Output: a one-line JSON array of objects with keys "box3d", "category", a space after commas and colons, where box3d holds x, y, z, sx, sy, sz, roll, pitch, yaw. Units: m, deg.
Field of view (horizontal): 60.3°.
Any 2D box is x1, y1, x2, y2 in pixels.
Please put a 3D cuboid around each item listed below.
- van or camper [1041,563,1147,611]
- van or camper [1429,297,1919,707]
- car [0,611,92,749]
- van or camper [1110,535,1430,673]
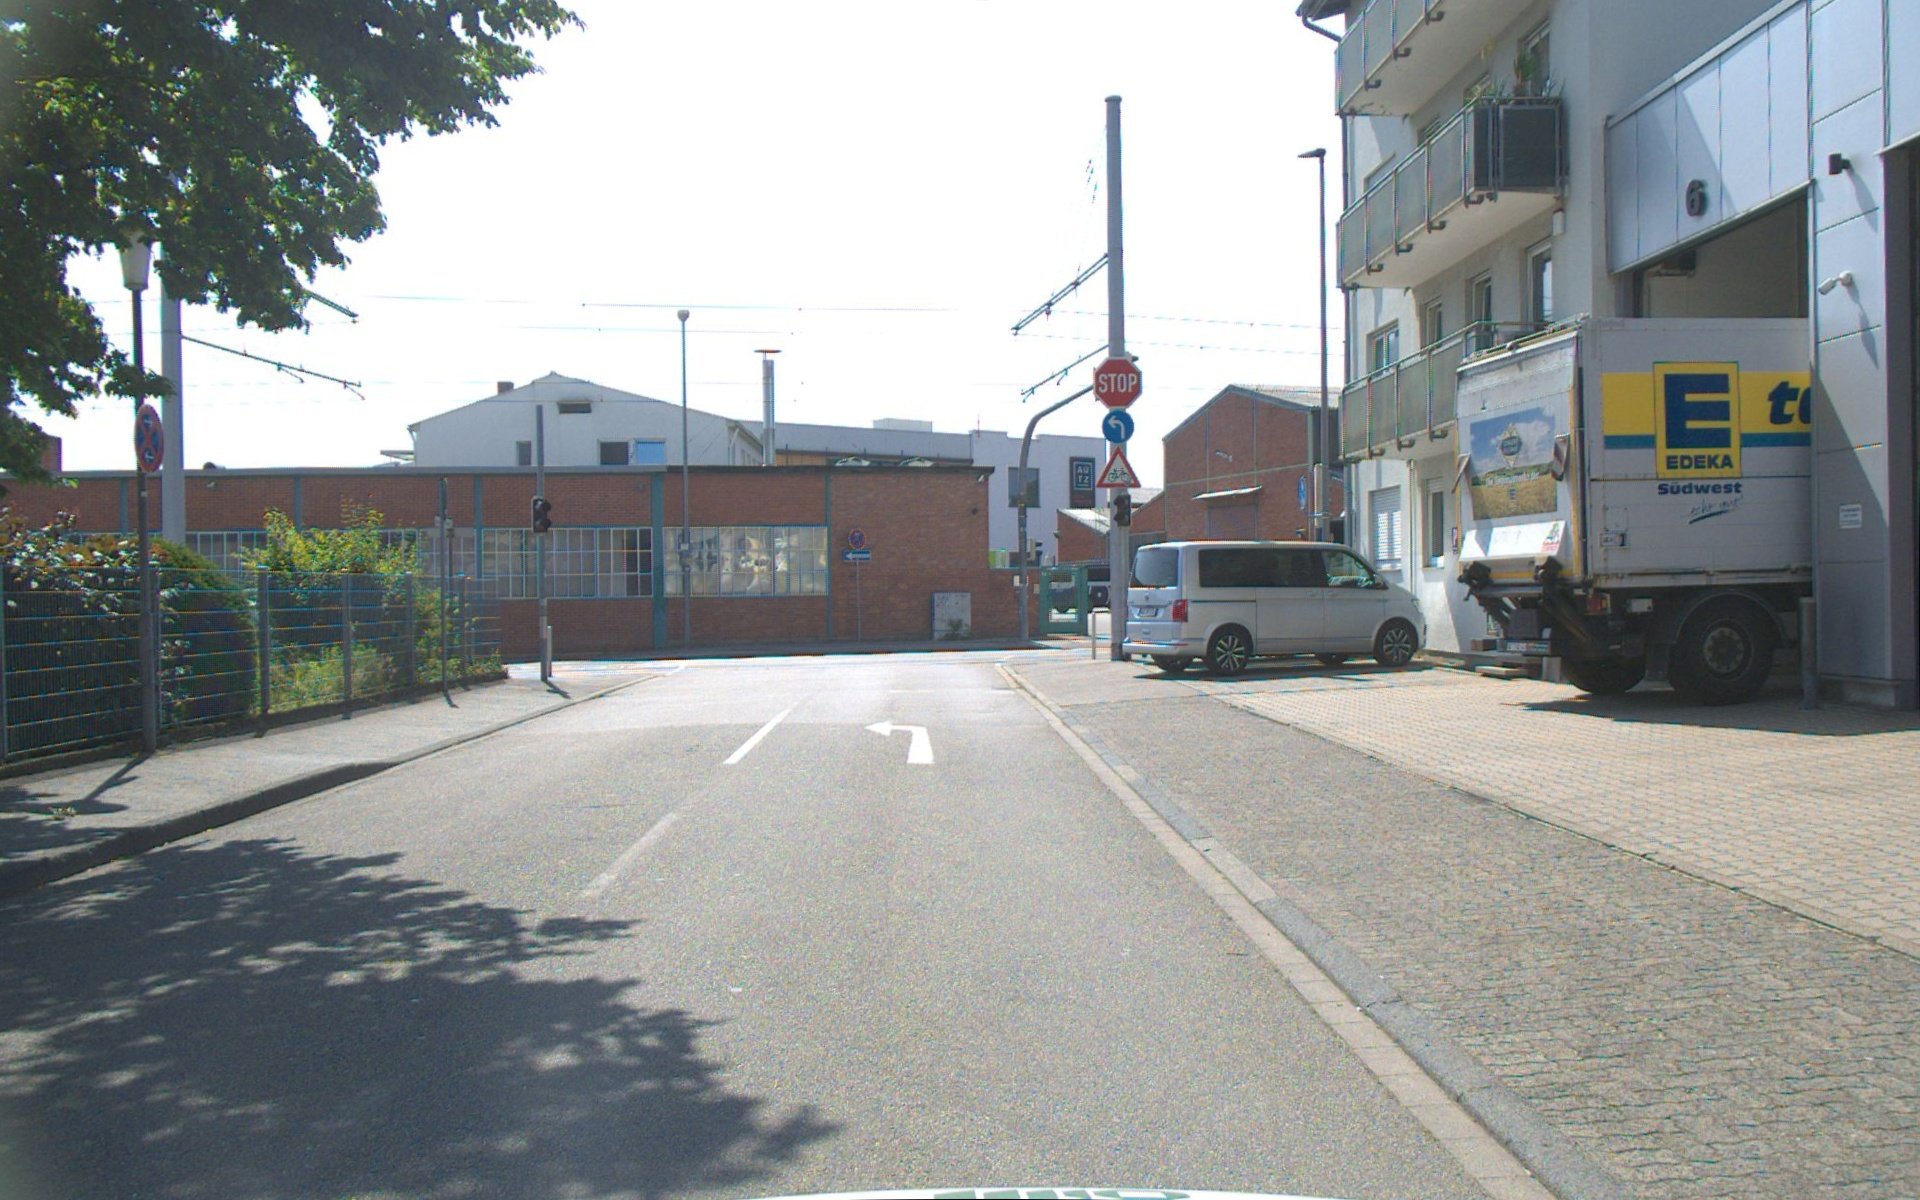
[{"box3d": [5.781, -0.535, 70.941, 4.376, 1.933, 1.973, 1, 0, -38], "category": "van or camper"}, {"box3d": [11.020, -1.131, 17.632, 11.385, 3.757, 2.776, -2, 0, -9], "category": "van or camper"}, {"box3d": [-11.723, 0.888, 17.877, 3.689, 1.390, 1.767, -2, 0, 0], "category": "car"}, {"box3d": [4.763, 0.015, 25.425, 4.478, 1.941, 1.987, -1, 1, -22], "category": "van or camper"}]
